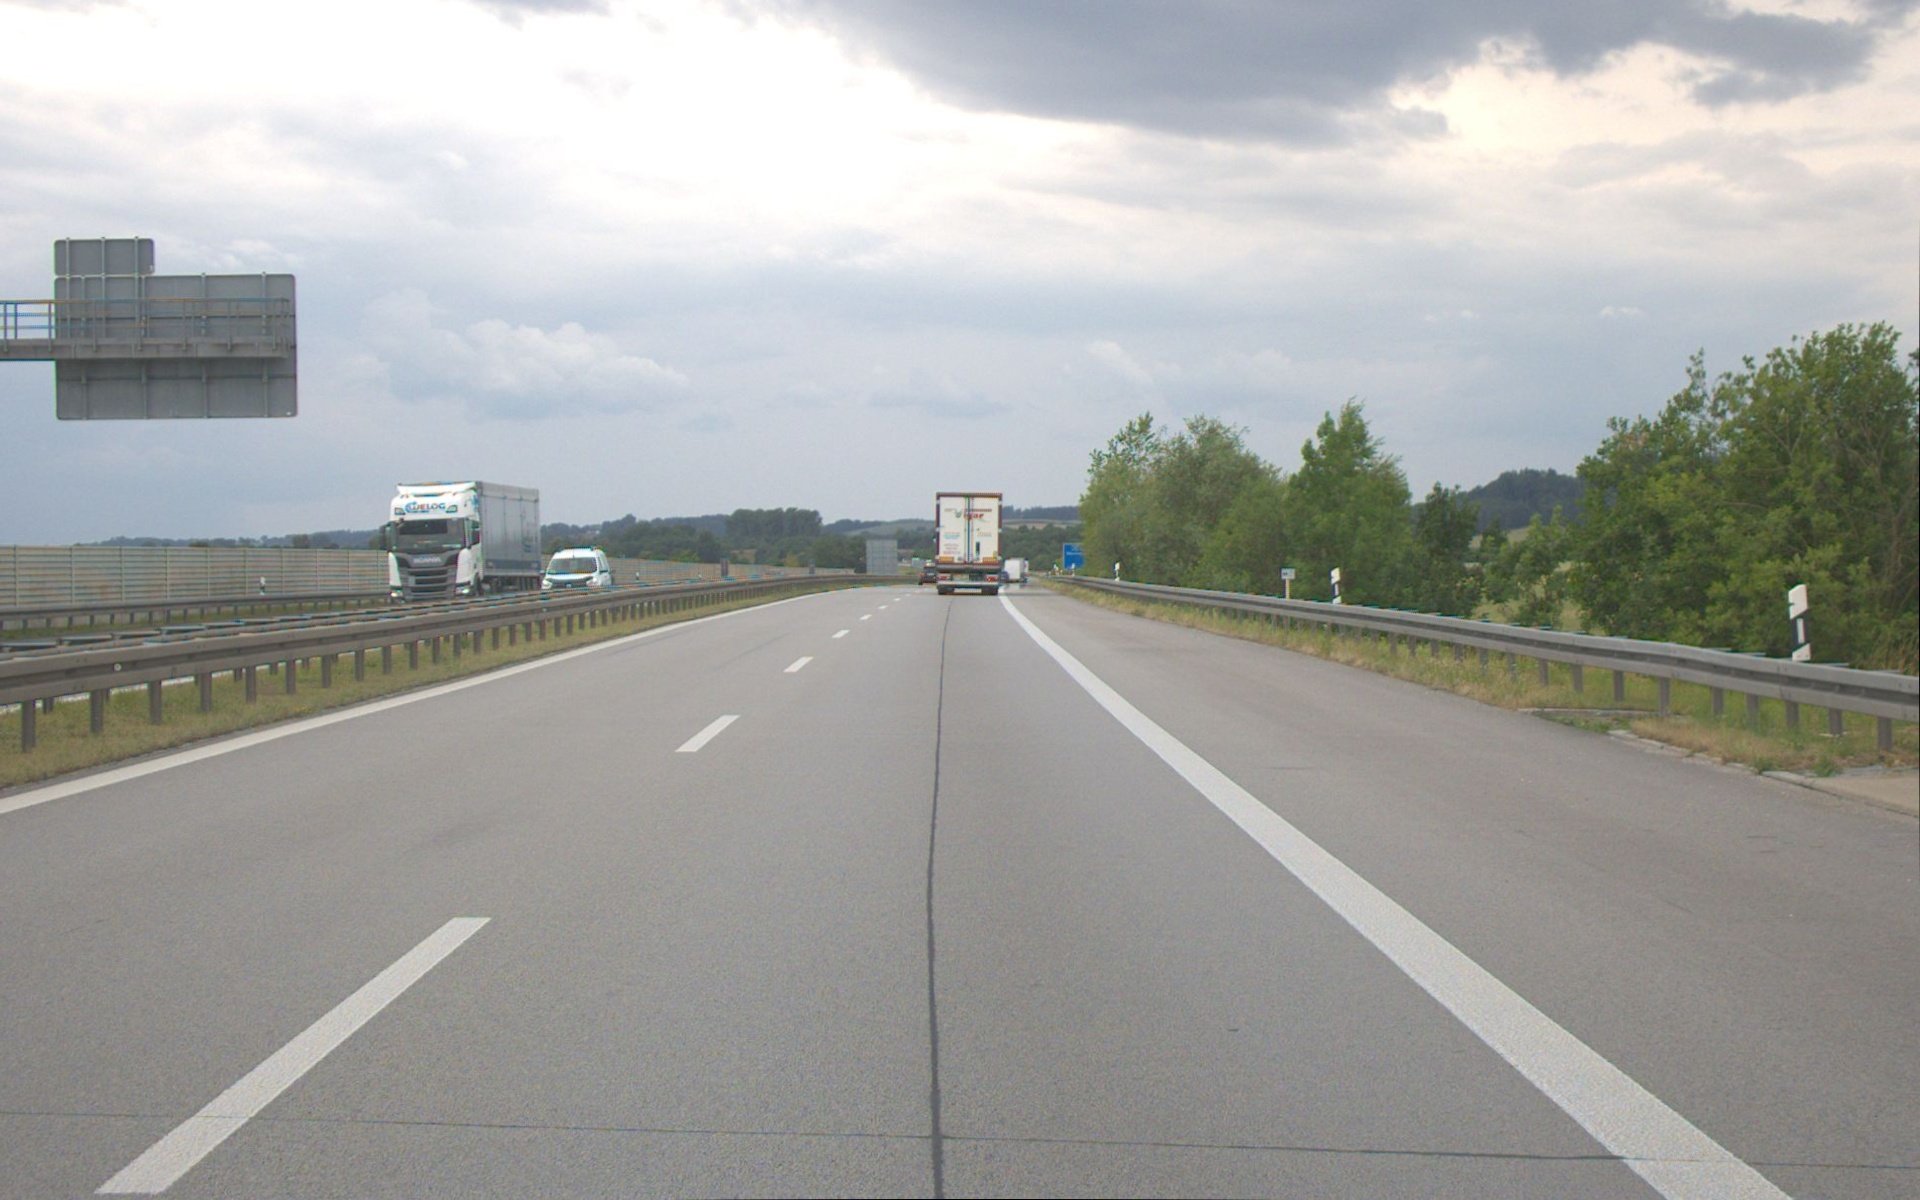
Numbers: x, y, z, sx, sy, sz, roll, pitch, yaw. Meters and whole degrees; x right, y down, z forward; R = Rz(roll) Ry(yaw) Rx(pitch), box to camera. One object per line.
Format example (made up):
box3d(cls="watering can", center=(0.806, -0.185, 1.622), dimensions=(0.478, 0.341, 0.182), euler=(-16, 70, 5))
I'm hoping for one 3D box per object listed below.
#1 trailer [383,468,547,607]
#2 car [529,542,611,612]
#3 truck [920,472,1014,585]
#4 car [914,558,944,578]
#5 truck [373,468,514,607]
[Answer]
box3d(cls="trailer", center=(-15.654, -1.962, 109.882), dimensions=(3.179, 4.062, 14.024), euler=(-2, 1, 0))
box3d(cls="car", center=(-11.413, -0.678, 100.835), dimensions=(1.814, 1.840, 4.181), euler=(5, 0, 0))
box3d(cls="truck", center=(0.281, -2.851, 142.445), dimensions=(3.672, 4.397, 16.341), euler=(0, 0, 0))
box3d(cls="car", center=(-2.318, -2.369, 255.376), dimensions=(1.993, 1.415, 4.001), euler=(1, 2, -3))
box3d(cls="truck", center=(-15.588, -1.874, 104.287), dimensions=(3.109, 4.000, 7.324), euler=(-2, 1, 0))
